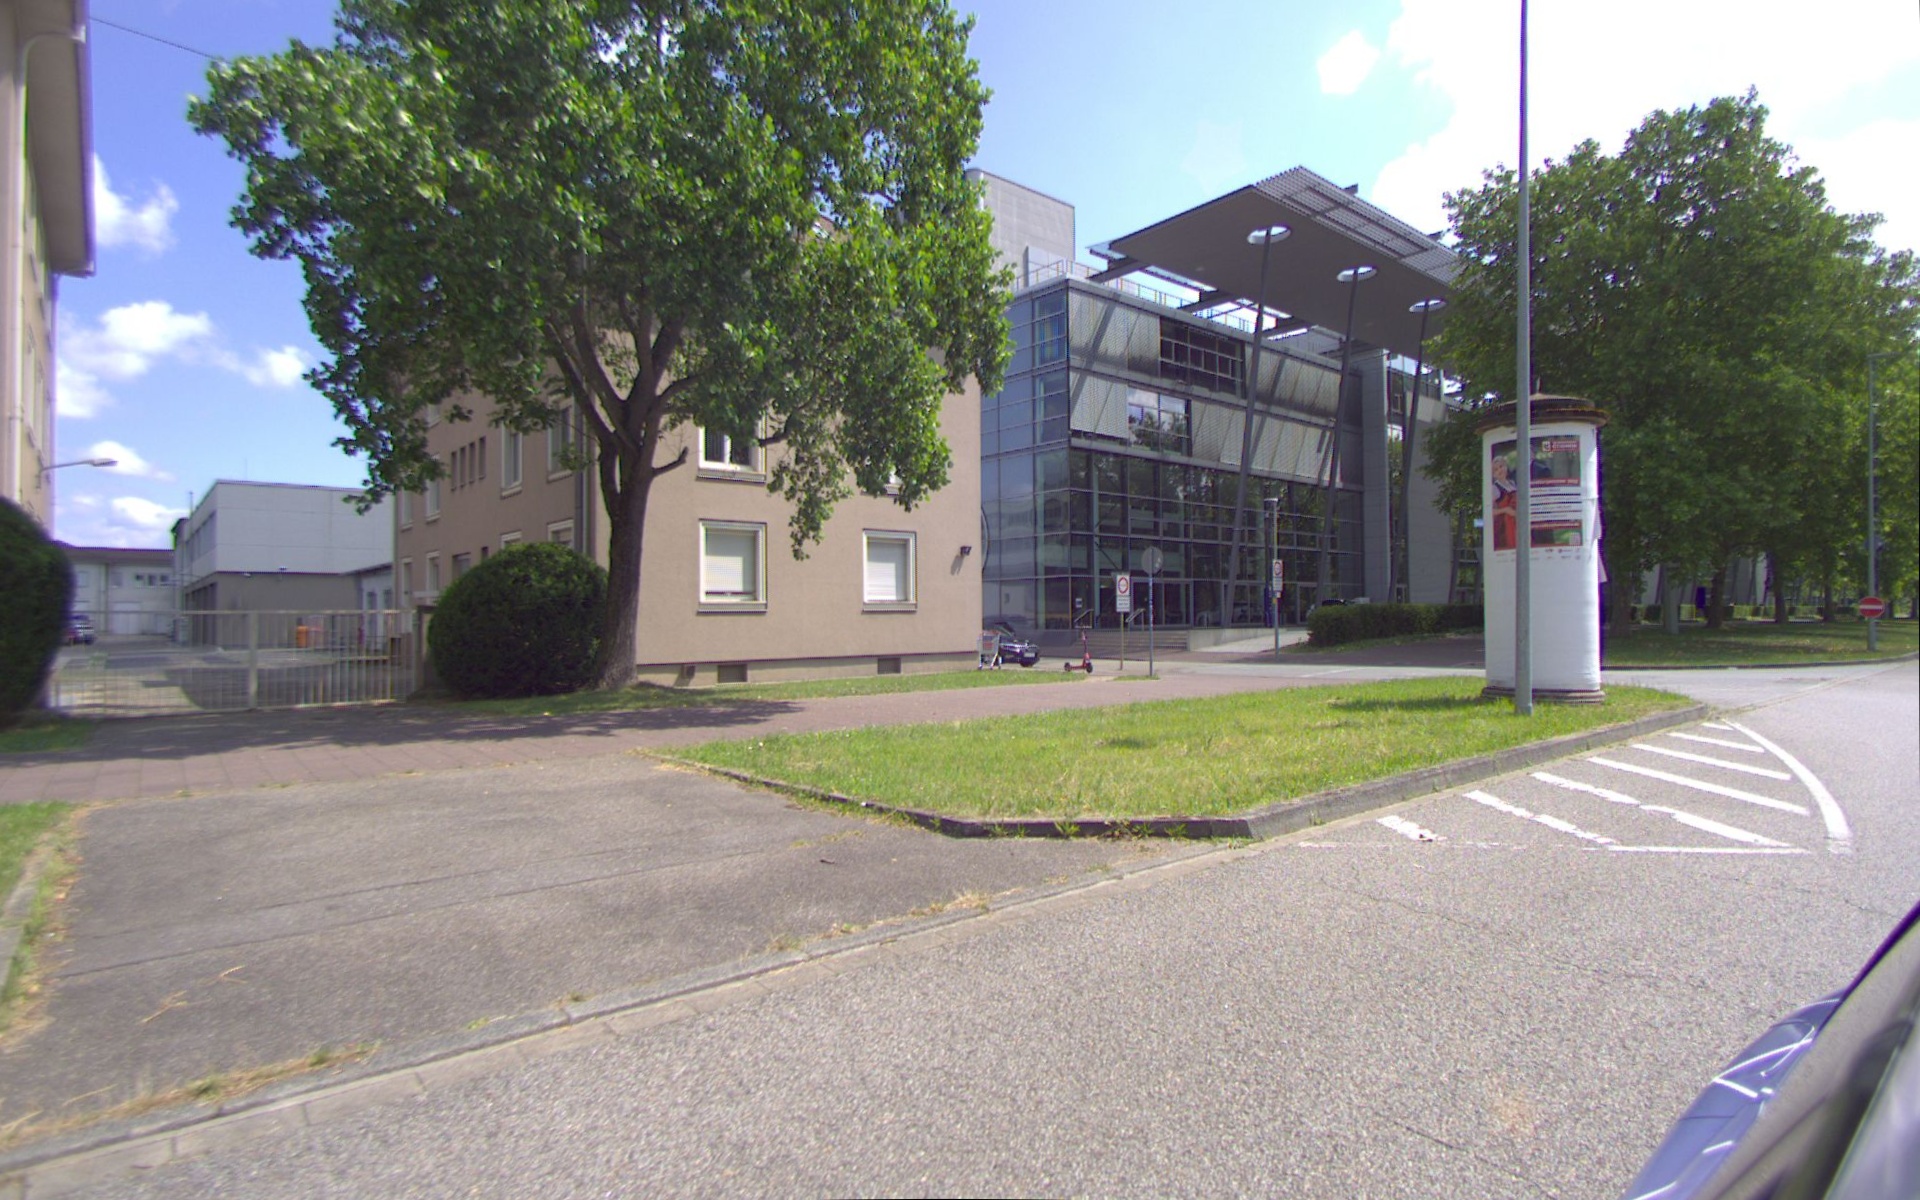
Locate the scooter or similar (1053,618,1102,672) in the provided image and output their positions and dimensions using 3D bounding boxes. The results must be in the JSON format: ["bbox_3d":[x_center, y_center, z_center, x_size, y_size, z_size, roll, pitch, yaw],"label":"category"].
[{"bbox_3d":[2.973,1.116,25.648,0.536,1.320,1.446,0,-1,-25],"label":"scooter or similar"}]

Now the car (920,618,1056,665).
[{"bbox_3d":[0.851,1.305,33.141,1.966,1.371,4.457,0,-1,-42],"label":"car"}]

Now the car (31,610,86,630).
[{"bbox_3d":[-94.198,2.064,105.809,3.922,2.039,2.001,0,1,-2],"label":"car"}]

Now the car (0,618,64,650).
[{"bbox_3d":[-63.682,2.279,68.760,3.927,2.039,1.999,0,1,3],"label":"car"}]

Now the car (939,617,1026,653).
[{"bbox_3d":[0.974,1.554,46.154,1.786,1.435,3.996,-4,2,-38],"label":"car"}]

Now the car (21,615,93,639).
[{"bbox_3d":[-70.685,2.122,79.259,3.927,1.794,1.999,0,1,3],"label":"car"}]
